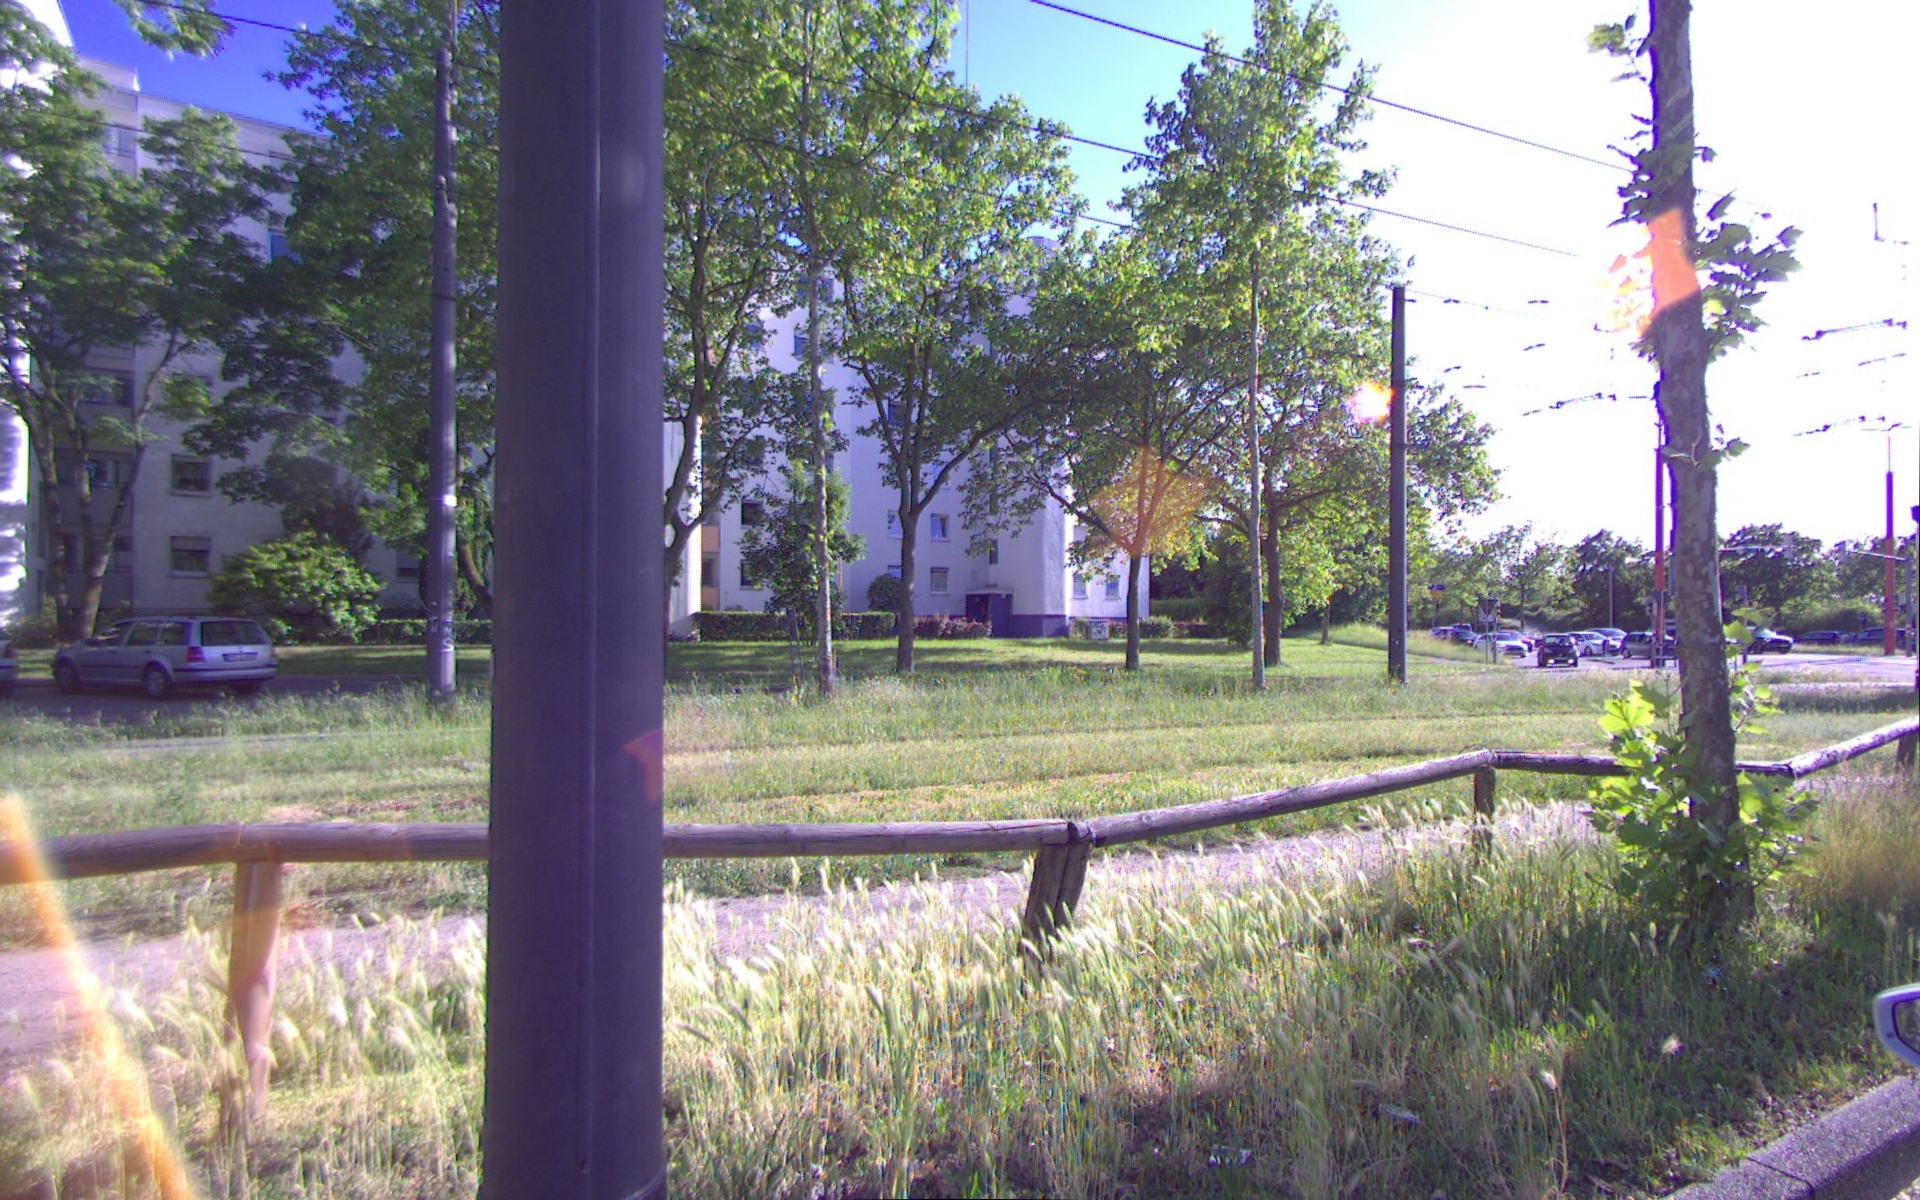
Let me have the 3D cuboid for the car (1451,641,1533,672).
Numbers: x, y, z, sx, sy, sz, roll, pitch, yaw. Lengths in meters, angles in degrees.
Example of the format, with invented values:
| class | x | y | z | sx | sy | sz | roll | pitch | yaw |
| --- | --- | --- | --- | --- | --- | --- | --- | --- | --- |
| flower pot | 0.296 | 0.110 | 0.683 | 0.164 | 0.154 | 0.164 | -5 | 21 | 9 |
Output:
| class | x | y | z | sx | sy | sz | roll | pitch | yaw |
| --- | --- | --- | --- | --- | --- | --- | --- | --- | --- |
| car | 33.252 | 3.495 | 62.972 | 1.964 | 1.754 | 4.837 | 1 | -1 | -10 |

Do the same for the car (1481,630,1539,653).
| class | x | y | z | sx | sy | sz | roll | pitch | yaw |
| --- | --- | --- | --- | --- | --- | --- | --- | --- | --- |
| car | 38.456 | 2.880 | 70.382 | 1.699 | 1.533 | 3.998 | 1 | -1 | -4 |

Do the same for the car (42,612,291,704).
| class | x | y | z | sx | sy | sz | roll | pitch | yaw |
| --- | --- | --- | --- | --- | --- | --- | --- | --- | --- |
| car | -14.587 | 1.004 | 18.505 | 3.898 | 1.462 | 1.710 | 1 | 0 | 18 |

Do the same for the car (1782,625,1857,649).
| class | x | y | z | sx | sy | sz | roll | pitch | yaw |
| --- | --- | --- | --- | --- | --- | --- | --- | --- | --- |
| car | 63.029 | 2.718 | 73.746 | 1.788 | 1.531 | 4.132 | 2 | 0 | -3 |

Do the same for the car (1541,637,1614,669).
| class | x | y | z | sx | sy | sz | roll | pitch | yaw |
| --- | --- | --- | --- | --- | --- | --- | --- | --- | --- |
| car | 29.026 | 2.476 | 47.216 | 2.816 | 1.409 | 1.790 | 1 | -1 | -30 |

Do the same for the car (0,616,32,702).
| class | x | y | z | sx | sy | sz | roll | pitch | yaw |
| --- | --- | --- | --- | --- | --- | --- | --- | --- | --- |
| car | -17.942 | 0.977 | 17.131 | 3.547 | 1.439 | 1.576 | 1 | 0 | 18 |

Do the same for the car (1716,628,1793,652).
| class | x | y | z | sx | sy | sz | roll | pitch | yaw |
| --- | --- | --- | --- | --- | --- | --- | --- | --- | --- |
| car | 48.778 | 2.424 | 61.734 | 1.664 | 1.347 | 4.001 | 1 | -1 | 2 |

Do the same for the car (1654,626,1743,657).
| class | x | y | z | sx | sy | sz | roll | pitch | yaw |
| --- | --- | --- | --- | --- | --- | --- | --- | --- | --- |
| car | 42.432 | 2.339 | 57.815 | 1.962 | 1.666 | 3.997 | 1 | -1 | -5 |

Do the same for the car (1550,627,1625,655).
| class | x | y | z | sx | sy | sz | roll | pitch | yaw |
| --- | --- | --- | --- | --- | --- | --- | --- | --- | --- |
| car | 38.988 | 2.507 | 62.537 | 1.833 | 1.633 | 4.185 | 1 | -1 | -4 |

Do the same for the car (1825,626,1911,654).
| class | x | y | z | sx | sy | sz | roll | pitch | yaw |
| --- | --- | --- | --- | --- | --- | --- | --- | --- | --- |
| car | 60.345 | 2.625 | 66.849 | 1.725 | 1.666 | 4.191 | 2 | 0 | -3 |
